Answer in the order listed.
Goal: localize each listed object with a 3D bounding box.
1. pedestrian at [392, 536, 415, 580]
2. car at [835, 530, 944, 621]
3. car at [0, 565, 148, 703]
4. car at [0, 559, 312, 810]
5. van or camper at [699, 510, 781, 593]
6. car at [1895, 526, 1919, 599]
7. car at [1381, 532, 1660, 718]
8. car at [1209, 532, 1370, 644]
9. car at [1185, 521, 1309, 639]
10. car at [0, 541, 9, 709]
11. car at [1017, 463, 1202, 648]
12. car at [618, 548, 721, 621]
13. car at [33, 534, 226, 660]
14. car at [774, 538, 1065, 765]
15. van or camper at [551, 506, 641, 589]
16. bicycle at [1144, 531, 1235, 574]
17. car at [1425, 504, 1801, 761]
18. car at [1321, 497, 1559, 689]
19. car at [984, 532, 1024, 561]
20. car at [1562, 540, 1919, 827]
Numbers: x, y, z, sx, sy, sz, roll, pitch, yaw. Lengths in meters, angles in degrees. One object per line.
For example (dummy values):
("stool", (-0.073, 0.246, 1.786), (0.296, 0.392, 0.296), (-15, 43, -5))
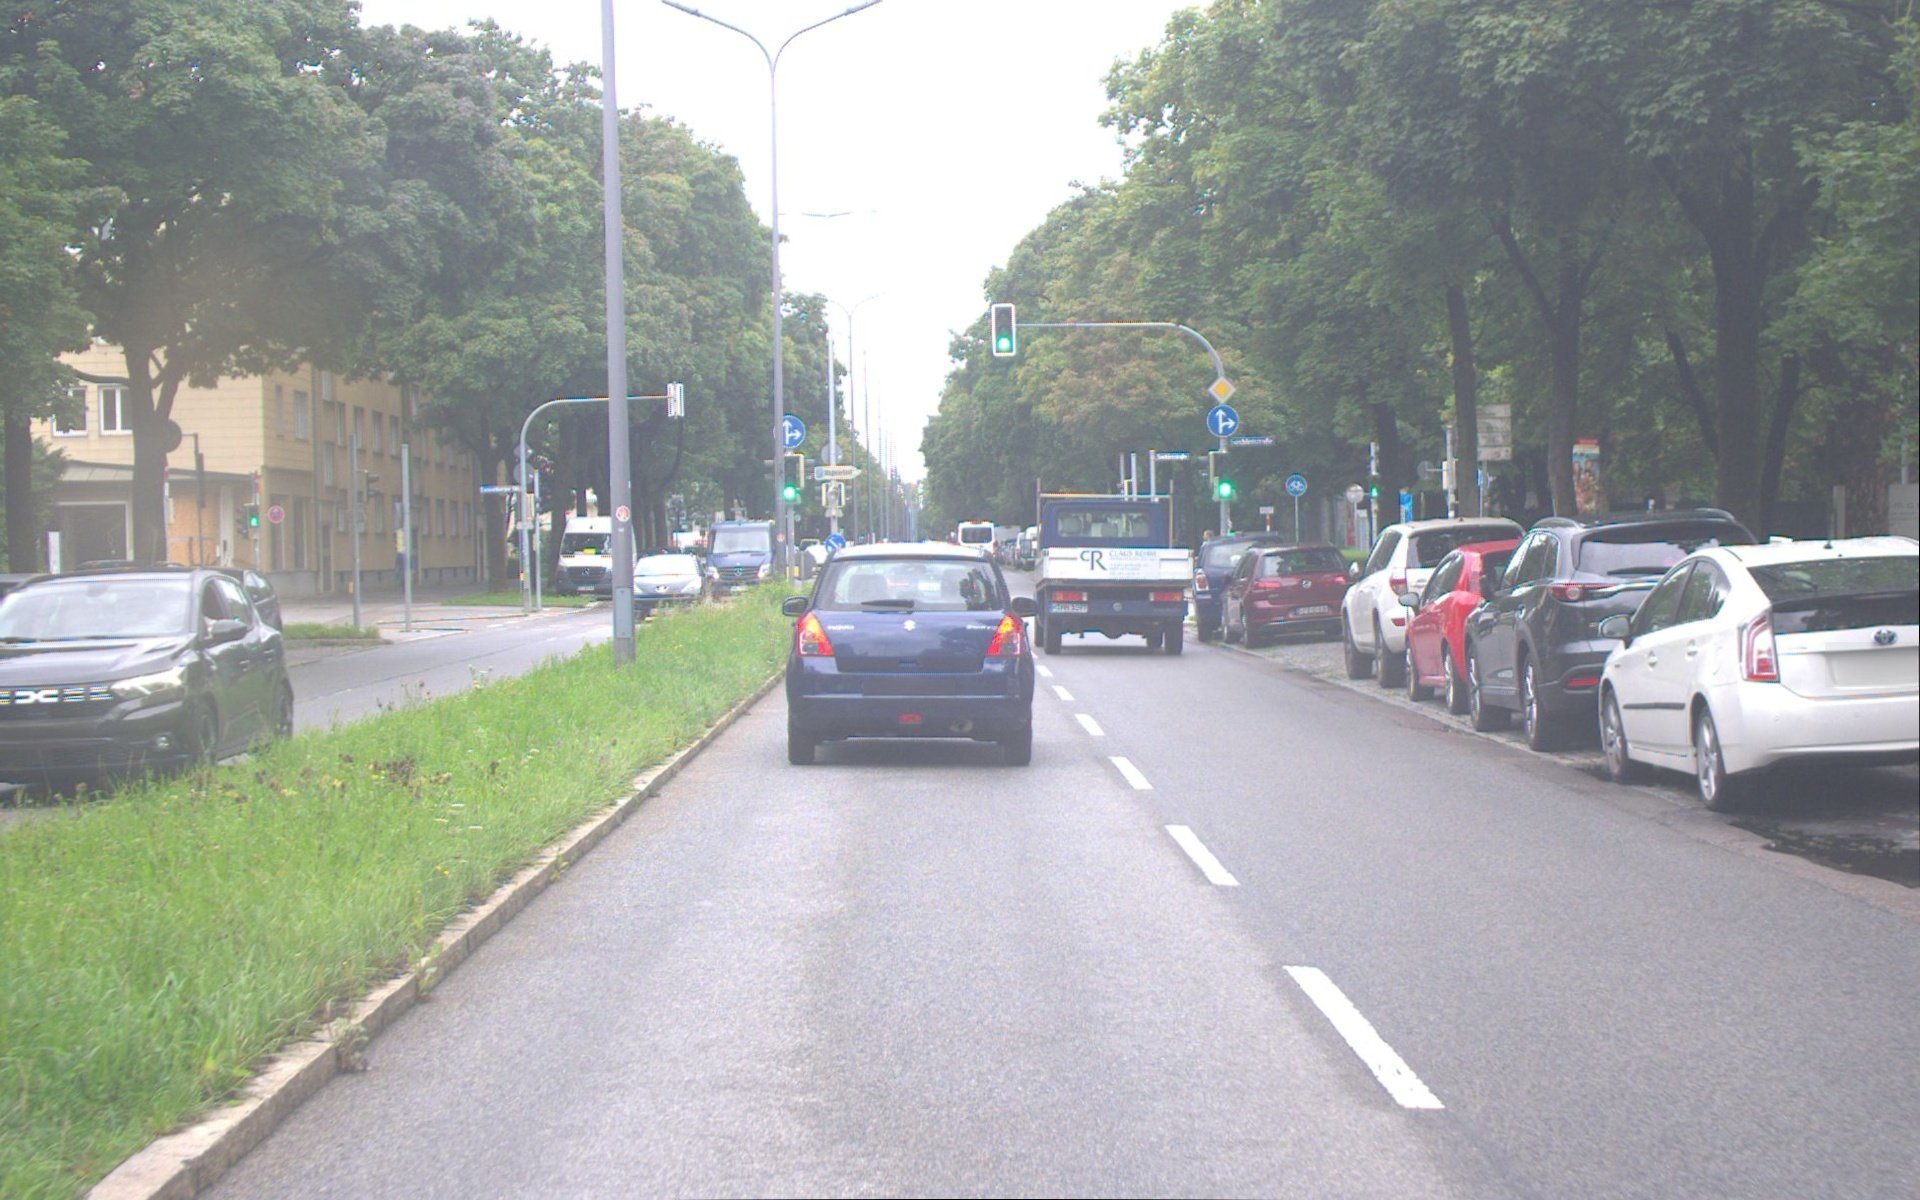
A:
("pedestrian", (-18.519, -1.397, 114.410), (0.629, 1.435, 0.806), (1, 0, 0))
("car", (-1.230, -0.449, 59.364), (1.799, 1.494, 3.660), (-1, 1, -1))
("car", (-10.936, 0.357, 40.587), (1.666, 1.440, 4.375), (2, 1, -1))
("car", (-5.558, 0.491, 22.707), (1.739, 1.435, 4.215), (-2, 1, 0))
("van or camper", (-6.230, -1.401, 98.011), (2.023, 2.253, 6.022), (-2, 1, -1))
("car", (23.879, -1.016, 79.717), (3.881, 1.605, 1.932), (-5, 1, 7))
("car", (5.049, 0.171, 31.480), (1.760, 1.501, 4.144), (-3, 1, -1))
("car", (4.787, -0.207, 50.474), (1.712, 1.419, 4.284), (-5, 1, -2))
("car", (4.567, -0.356, 55.246), (1.763, 1.652, 4.283), (-5, 1, 4))
("car", (-10.787, 0.297, 33.797), (1.796, 1.757, 5.059), (2, 1, -4))
("car", (2.018, -0.636, 47.830), (2.419, 2.435, 5.086), (0, 1, 1))
("car", (-6.147, -0.344, 73.153), (1.737, 1.437, 4.103), (-2, 1, 1))
("car", (-10.960, -0.075, 45.611), (1.666, 1.557, 4.300), (-1, 1, -3))
("car", (-0.364, 0.309, 24.506), (1.896, 1.494, 3.661), (0, 1, -3))
("van or camper", (-11.448, -1.679, 108.495), (2.140, 2.467, 6.259), (-2, 1, 0))
("bicycle", (5.929, -1.229, 88.850), (2.297, 1.110, 0.996), (0, 1, 1))
("car", (4.878, 0.173, 26.421), (1.760, 1.692, 5.230), (-3, 1, -1))
("car", (5.024, -0.111, 36.527), (1.760, 1.824, 4.528), (-3, 1, -1))
("car", (2.282, -2.816, 179.721), (1.786, 1.494, 3.661), (0, 1, -4))
("car", (4.999, 0.409, 20.861), (1.760, 1.448, 4.633), (-3, 1, -1))
